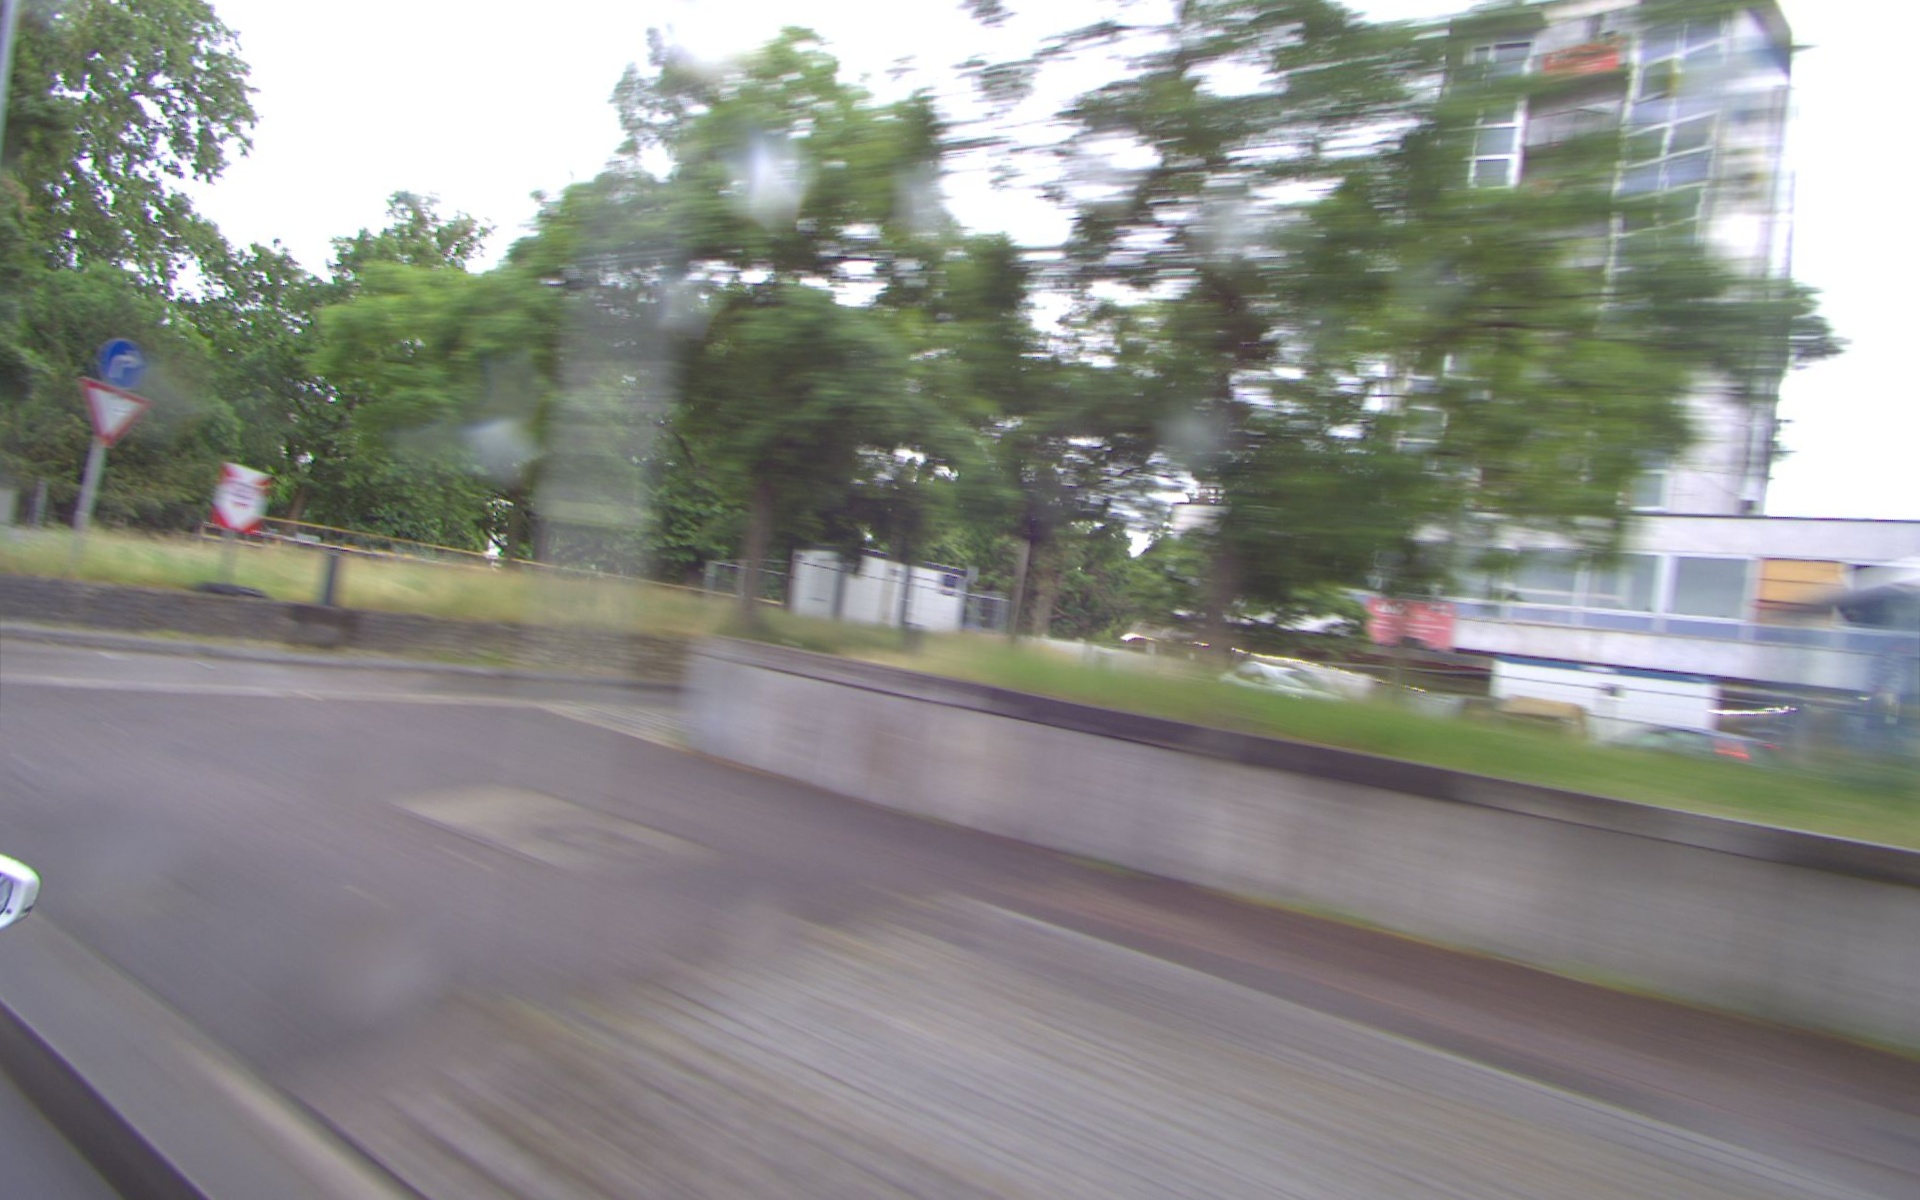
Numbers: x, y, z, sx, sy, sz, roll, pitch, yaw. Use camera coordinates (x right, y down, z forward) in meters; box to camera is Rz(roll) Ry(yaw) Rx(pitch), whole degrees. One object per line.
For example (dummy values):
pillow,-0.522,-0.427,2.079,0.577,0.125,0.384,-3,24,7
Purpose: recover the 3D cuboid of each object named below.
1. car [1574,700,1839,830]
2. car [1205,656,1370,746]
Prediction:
car,12.945,2.808,17.707,1.765,1.608,3.337,8,-2,-9
car,7.991,2.421,25.122,1.965,1.647,4.758,8,-2,-6
